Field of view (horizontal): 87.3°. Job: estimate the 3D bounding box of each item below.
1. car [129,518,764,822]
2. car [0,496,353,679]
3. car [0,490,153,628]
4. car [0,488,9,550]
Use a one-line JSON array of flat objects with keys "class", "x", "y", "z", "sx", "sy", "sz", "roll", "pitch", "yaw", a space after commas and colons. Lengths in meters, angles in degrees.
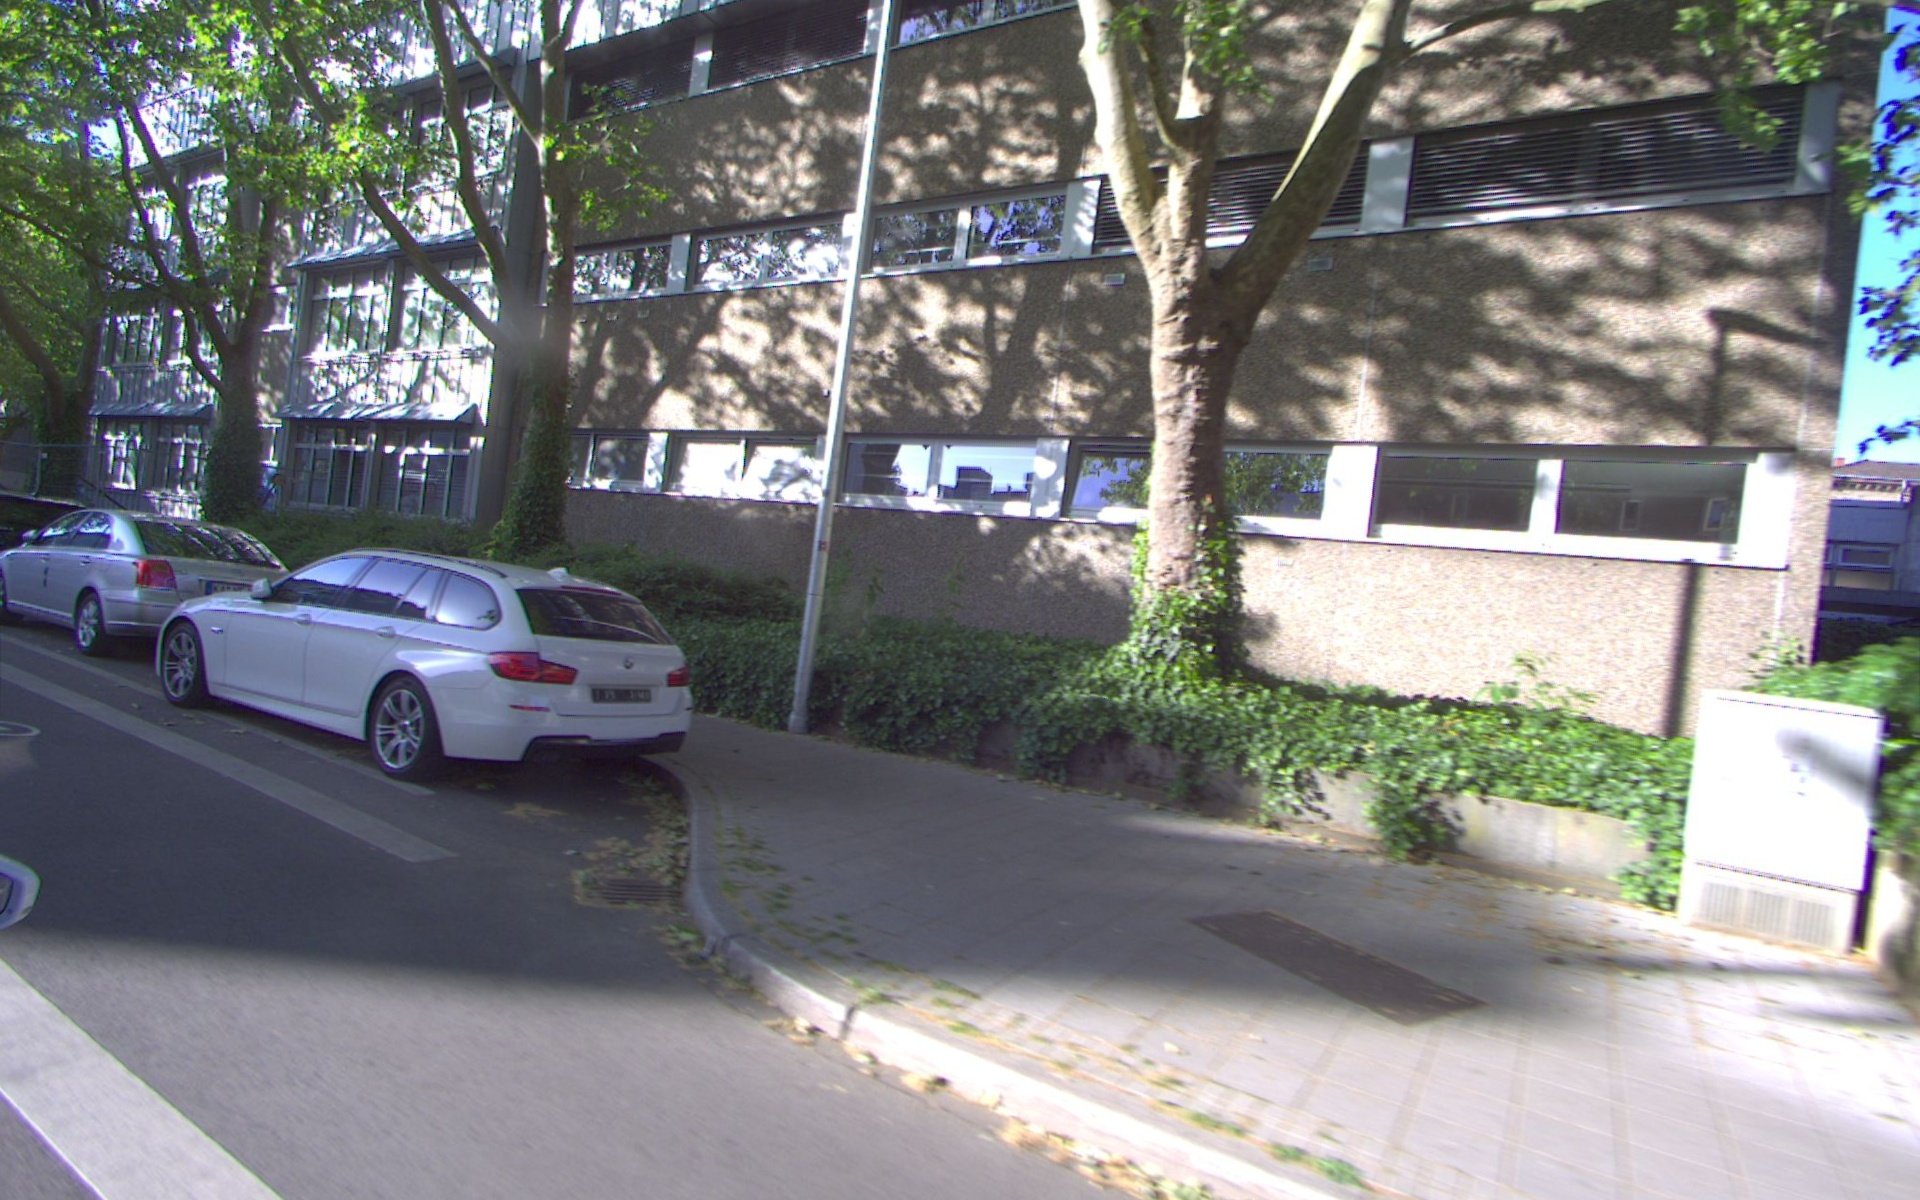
[{"class": "car", "x": -4.095, "y": 0.388, "z": 7.802, "sx": 4.884, "sy": 1.453, "sz": 1.859, "roll": 7, "pitch": -1, "yaw": 29}, {"class": "car", "x": -9.019, "y": -0.190, "z": 11.209, "sx": 4.525, "sy": 1.453, "sz": 1.859, "roll": 7, "pitch": -2, "yaw": 31}, {"class": "car", "x": -13.121, "y": -0.702, "z": 13.713, "sx": 4.225, "sy": 1.540, "sz": 1.859, "roll": 7, "pitch": -2, "yaw": 31}, {"class": "car", "x": -18.051, "y": -1.385, "z": 16.832, "sx": 4.522, "sy": 1.540, "sz": 1.859, "roll": 7, "pitch": -2, "yaw": 31}]
